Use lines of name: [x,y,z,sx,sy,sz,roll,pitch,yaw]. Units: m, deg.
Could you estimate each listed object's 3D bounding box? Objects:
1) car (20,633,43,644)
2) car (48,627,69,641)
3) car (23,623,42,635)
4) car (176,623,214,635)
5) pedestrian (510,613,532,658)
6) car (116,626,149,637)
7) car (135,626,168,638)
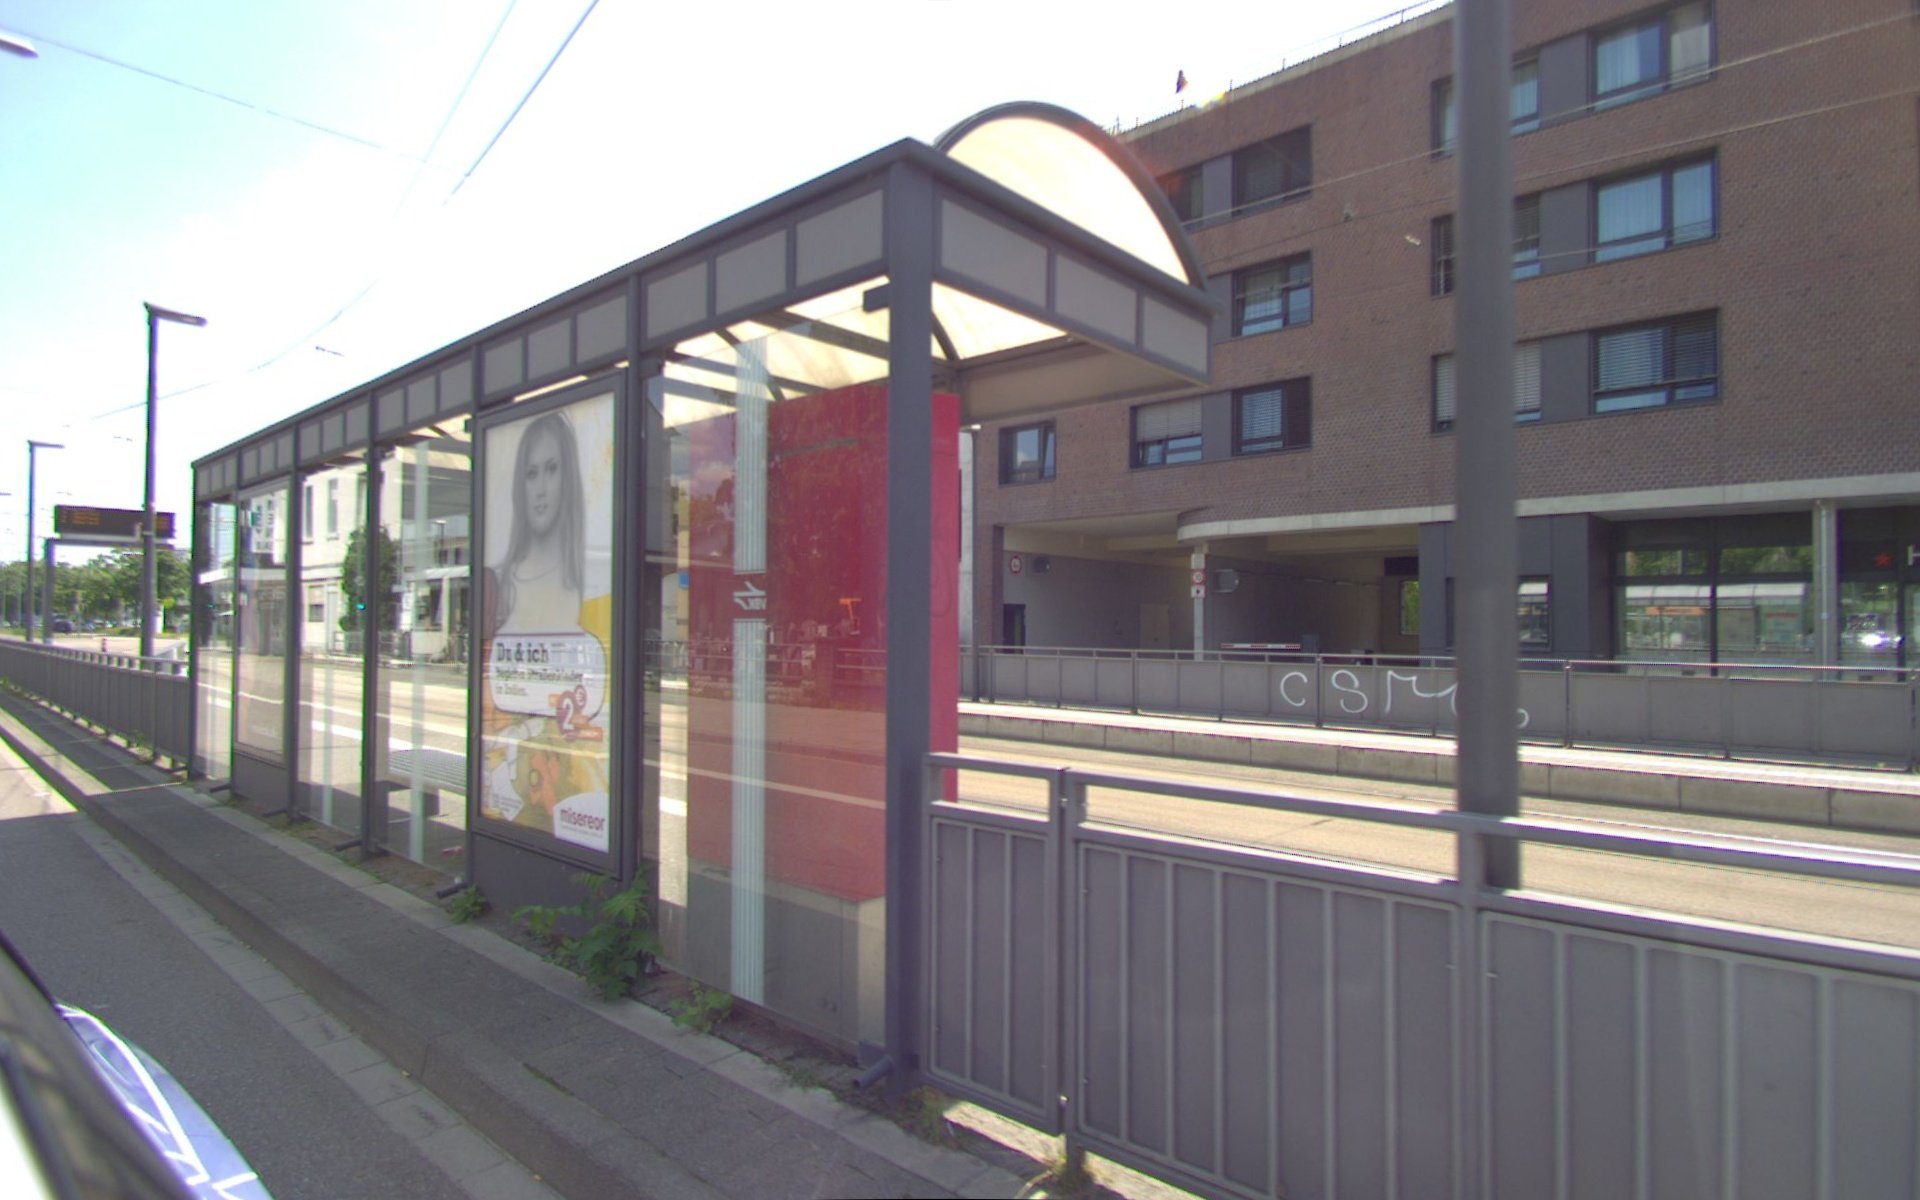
car: [-127.904,5.336,139.384,4.400,1.482,1.972,-2,-3,42]
car: [-108.861,4.122,122.169,1.703,1.696,4.283,3,-4,-43]
car: [-167.552,5.261,182.789,4.487,2.117,2.045,-1,0,41]
car: [-151.461,5.761,200.514,2.258,2.500,5.625,-1,-3,40]
pedestrian: [-20.365,1.643,46.901,0.810,2.029,0.611,-1,-3,41]
car: [-134.532,5.136,164.551,1.803,1.749,3.943,-1,-4,43]
car: [-129.387,5.118,161.950,1.903,1.749,3.943,-1,-3,43]
